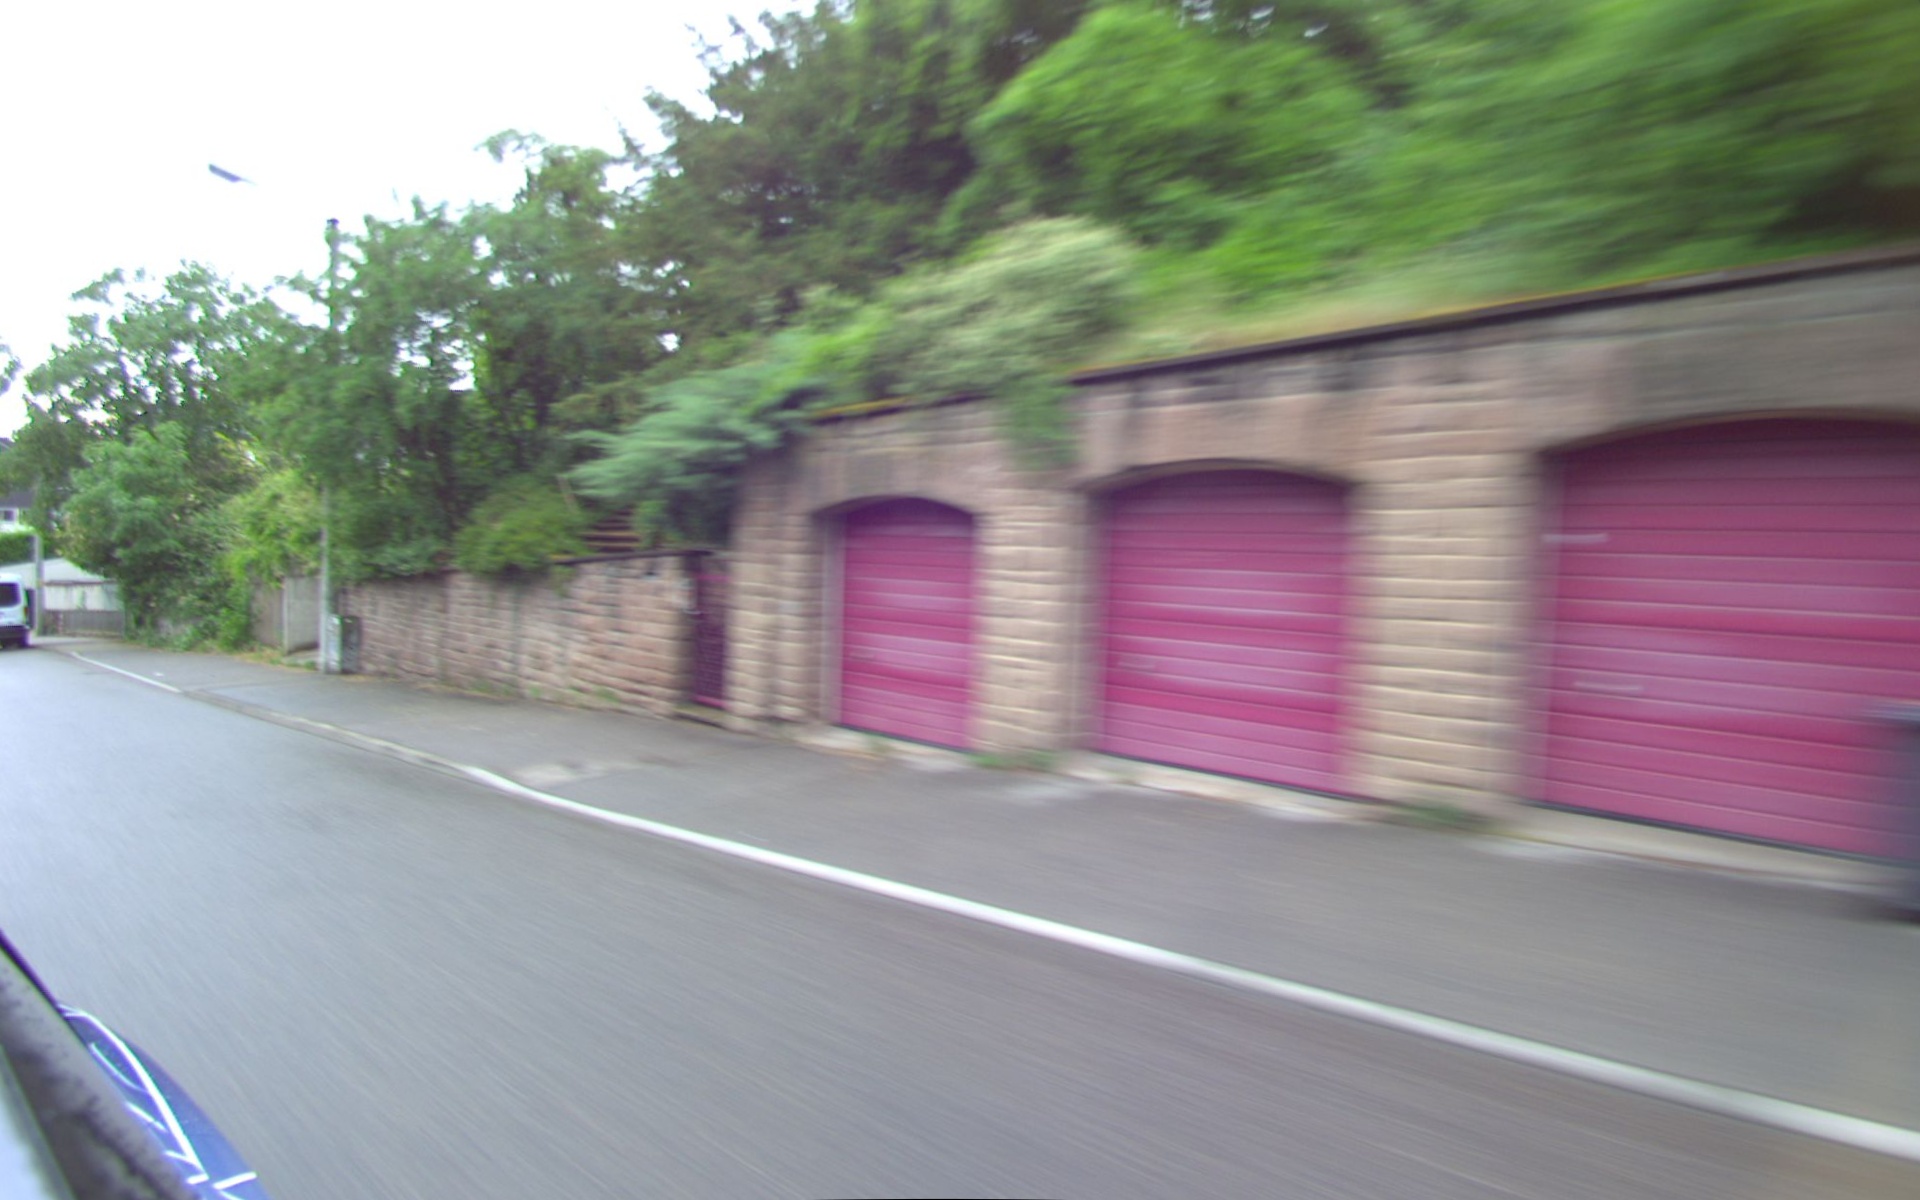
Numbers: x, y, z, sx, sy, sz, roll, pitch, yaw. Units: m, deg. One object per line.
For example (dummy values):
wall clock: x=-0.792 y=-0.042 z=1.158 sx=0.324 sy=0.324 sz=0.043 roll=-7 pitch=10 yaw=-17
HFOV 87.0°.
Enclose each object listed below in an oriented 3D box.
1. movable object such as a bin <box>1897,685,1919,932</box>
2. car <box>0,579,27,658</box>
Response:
movable object such as a bin: x=4.273 y=0.855 z=4.094 sx=0.677 sy=0.926 sz=0.651 roll=-1 pitch=1 yaw=42
car: x=-34.022 y=0.687 z=34.770 sx=6.092 sy=2.569 sz=2.073 roll=-1 pitch=1 yaw=40
